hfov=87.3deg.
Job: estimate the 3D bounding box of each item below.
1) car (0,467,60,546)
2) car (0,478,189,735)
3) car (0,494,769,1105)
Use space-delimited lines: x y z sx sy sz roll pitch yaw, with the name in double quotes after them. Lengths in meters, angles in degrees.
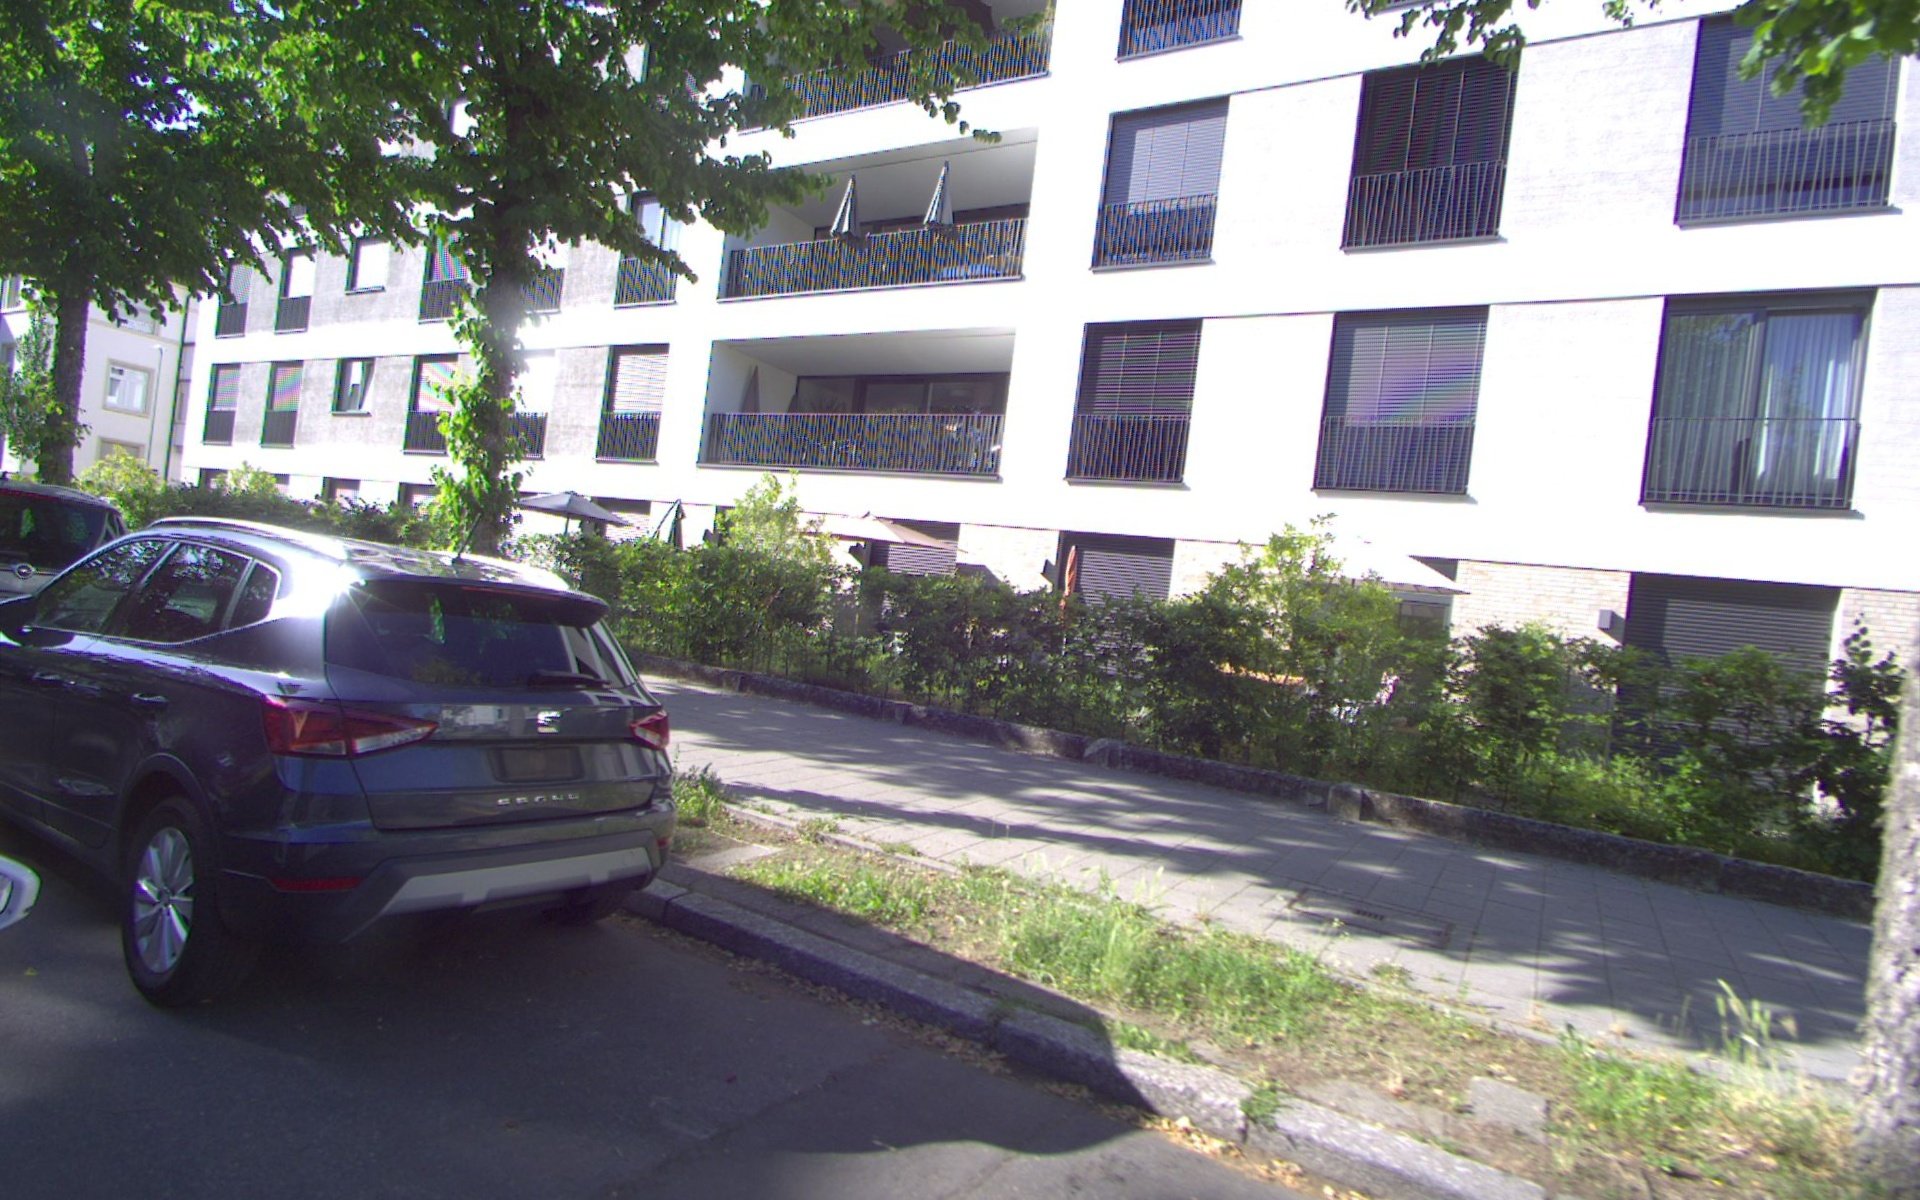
-31.499 -3.183 31.125 2.192 2.334 5.060 7 -1 8 "car"
-8.230 -0.177 7.799 4.738 1.661 1.797 7 -3 31 "car"
-3.124 0.464 4.571 4.273 1.534 1.721 7 -1 32 "car"
